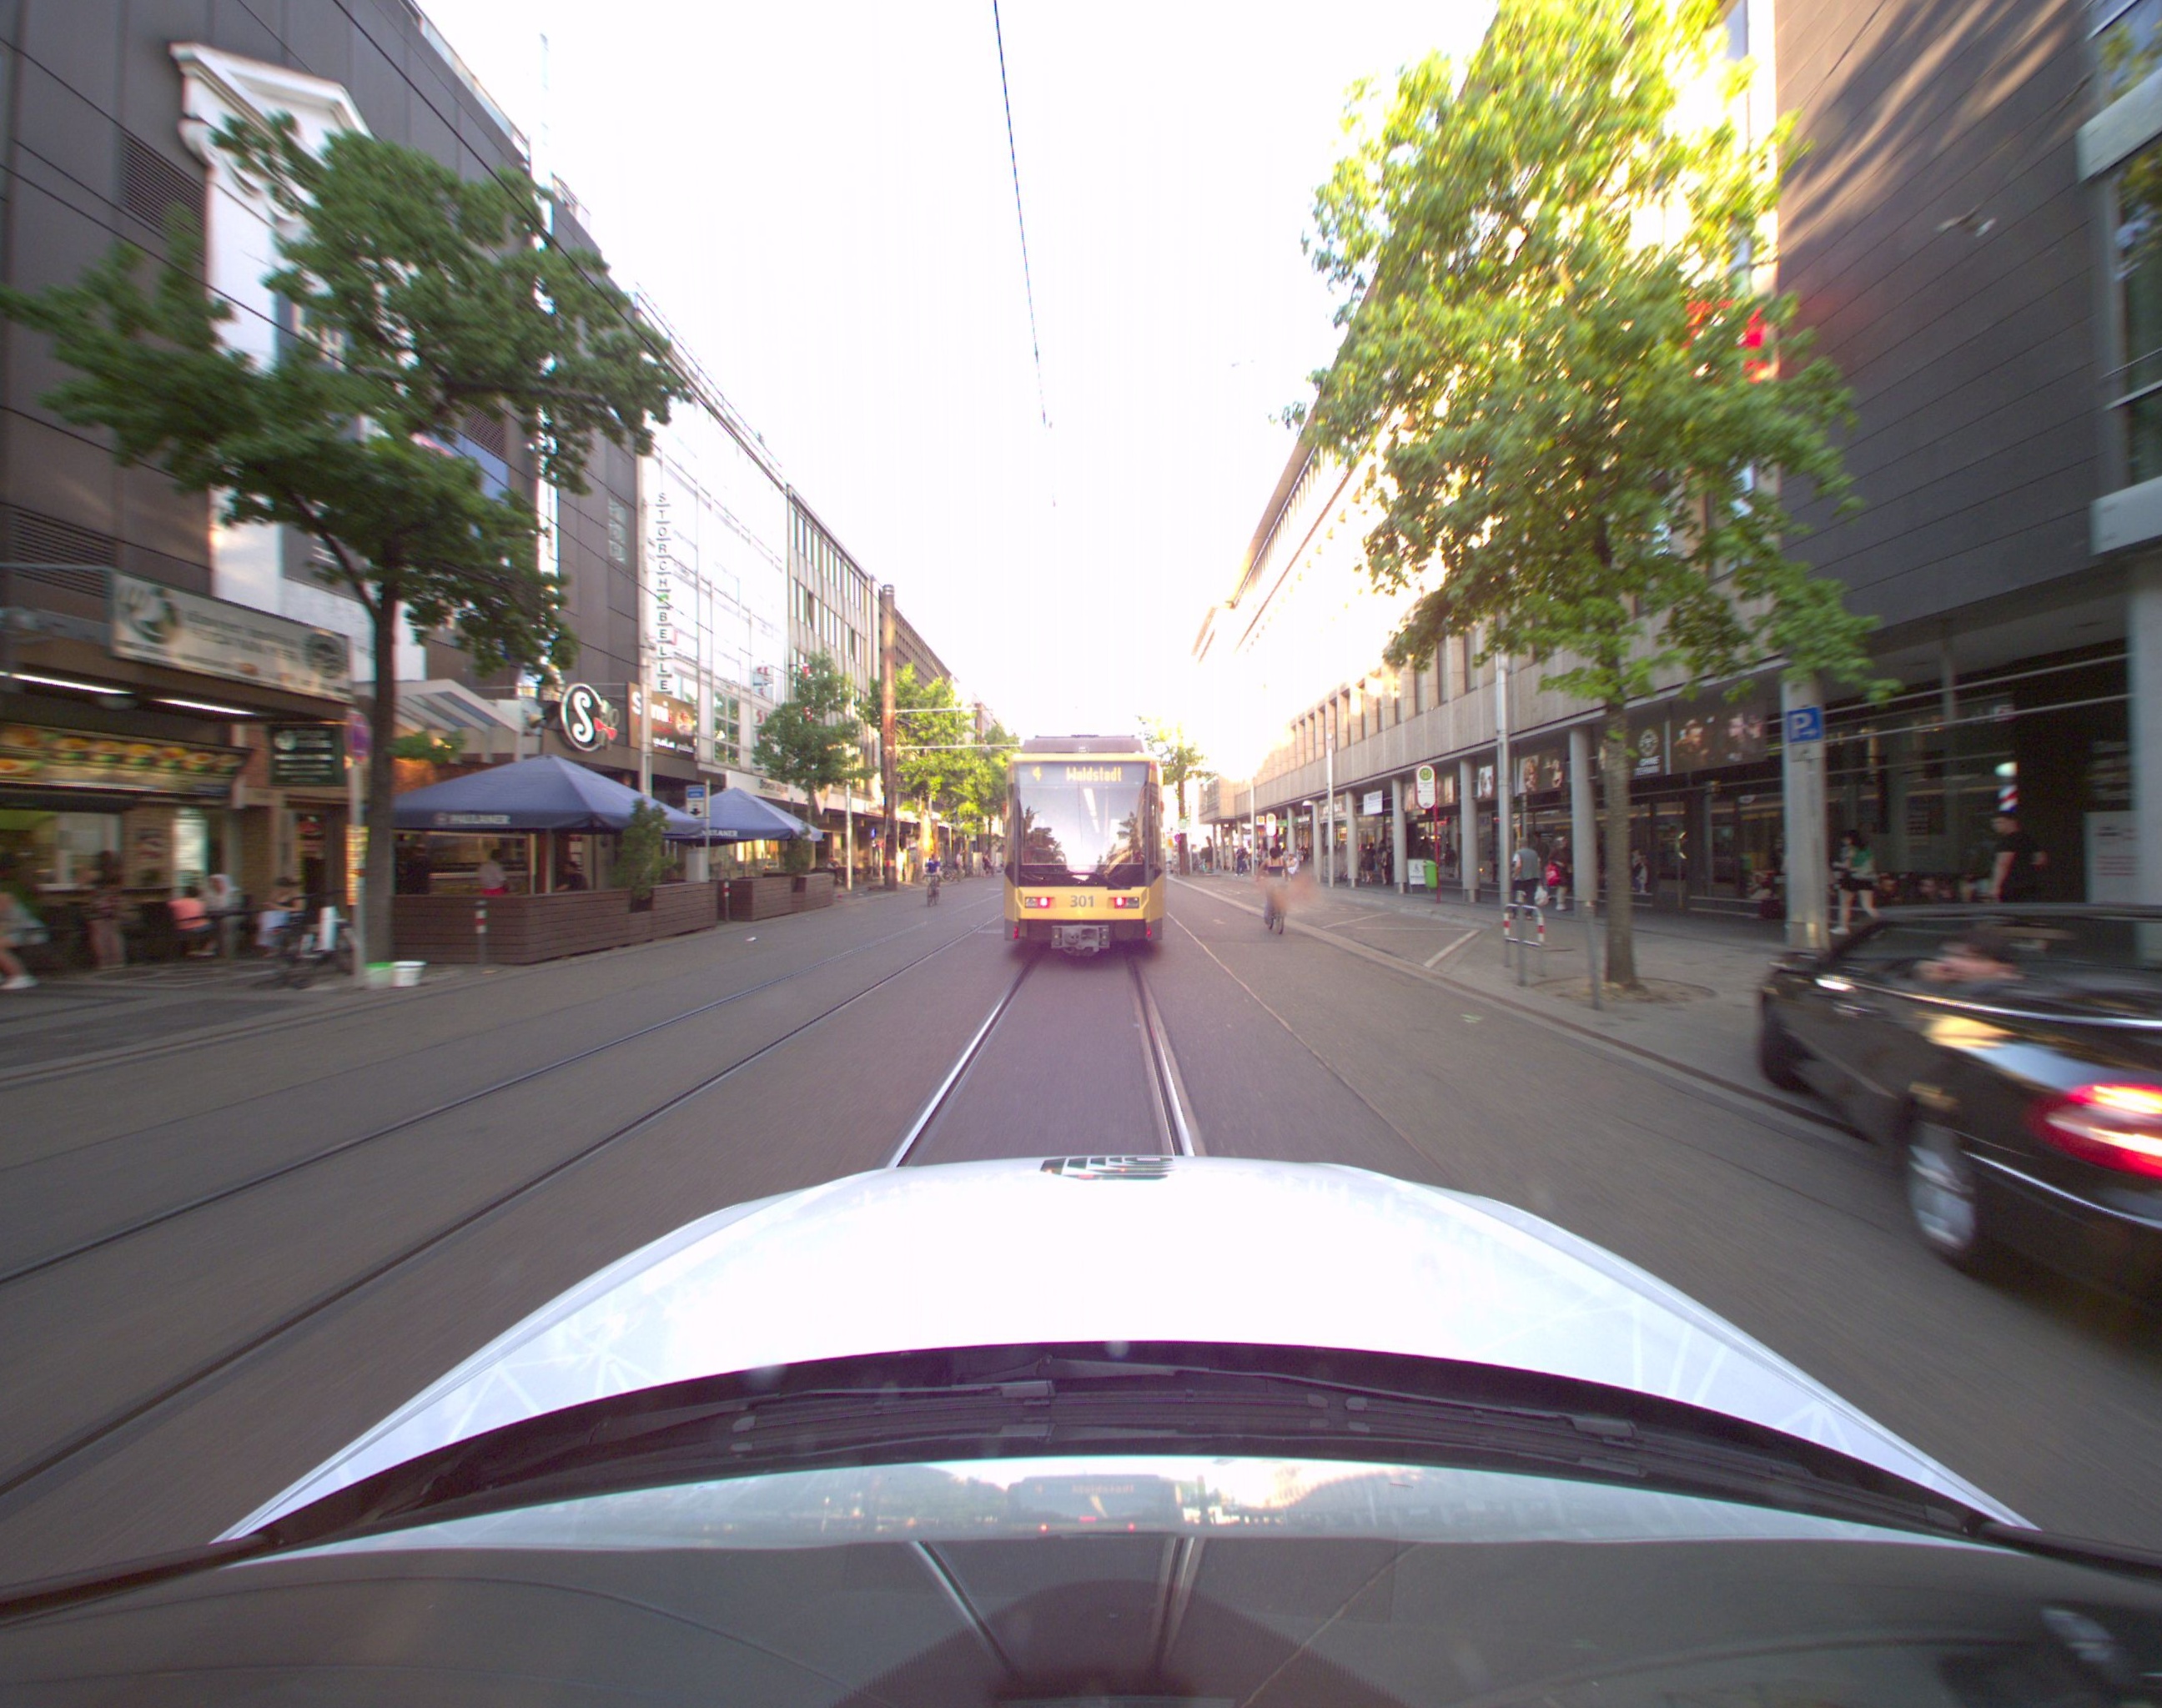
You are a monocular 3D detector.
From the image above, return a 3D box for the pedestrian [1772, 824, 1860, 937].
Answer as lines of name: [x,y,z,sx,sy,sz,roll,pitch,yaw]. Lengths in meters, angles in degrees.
pedestrian: [10.985,0.382,12.190,0.594,1.616,0.755,-3,1,1]

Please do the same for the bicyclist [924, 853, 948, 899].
bicyclist: [-4.517,0.681,25.385,0.618,1.416,0.699,0,-1,-2]

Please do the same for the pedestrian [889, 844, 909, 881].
pedestrian: [-9.908,0.449,44.363,0.846,2.014,0.922,0,-1,1]

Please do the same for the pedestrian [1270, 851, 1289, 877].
pedestrian: [10.635,0.523,43.685,0.803,1.328,0.626,-3,1,2]

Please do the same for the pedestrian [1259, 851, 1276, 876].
pedestrian: [10.435,0.528,45.496,0.737,1.328,0.721,-3,1,2]

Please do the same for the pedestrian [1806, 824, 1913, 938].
pedestrian: [11.676,0.378,12.243,0.594,1.616,1.022,-3,1,1]

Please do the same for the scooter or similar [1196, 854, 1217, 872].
scooter or similar: [9.068,0.668,58.740,1.378,1.250,0.555,-2,-1,-7]

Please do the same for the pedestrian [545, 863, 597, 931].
pedestrian: [-9.782,0.809,15.631,0.556,1.256,0.606,2,-1,2]

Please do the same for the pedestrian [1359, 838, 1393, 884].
pedestrian: [12.453,0.282,34.372,1.049,1.876,0.929,-3,1,1]

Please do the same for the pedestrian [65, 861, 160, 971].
pedestrian: [-12.646,0.784,10.646,0.440,1.373,0.607,2,-1,11]

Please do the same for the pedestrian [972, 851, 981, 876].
pedestrian: [-7.303,0.663,57.043,0.573,1.687,0.551,2,-1,-9]

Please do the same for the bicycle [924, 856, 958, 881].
bicycle: [-7.866,0.824,45.742,1.798,1.360,0.658,2,-1,-11]

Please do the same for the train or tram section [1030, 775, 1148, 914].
train or tram section: [0.269,-0.233,25.995,2.997,3.523,10.402,0,0,1]

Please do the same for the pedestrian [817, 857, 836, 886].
pedestrian: [-11.664,0.794,37.323,0.572,1.319,0.726,2,-1,2]

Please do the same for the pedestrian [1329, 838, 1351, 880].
pedestrian: [11.750,0.212,36.946,0.698,1.839,0.830,-3,1,1]

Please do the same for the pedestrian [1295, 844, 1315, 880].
pedestrian: [10.612,0.372,38.554,0.698,1.637,0.646,-3,1,1]

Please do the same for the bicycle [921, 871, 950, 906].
bicycle: [-4.524,1.057,25.404,0.639,1.023,1.588,1,0,-1]

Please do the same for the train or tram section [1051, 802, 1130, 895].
train or tram section: [0.424,-0.213,36.626,2.993,3.523,10.846,-1,0,1]

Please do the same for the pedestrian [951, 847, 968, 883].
pedestrian: [-6.386,0.590,42.861,0.749,1.880,0.575,2,-1,-3]

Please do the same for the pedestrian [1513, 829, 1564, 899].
pedestrian: [12.320,0.256,21.944,0.829,1.836,0.944,-2,1,1]

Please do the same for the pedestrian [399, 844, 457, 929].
pedestrian: [-12.571,0.614,15.698,0.601,1.597,0.561,1,-1,3]

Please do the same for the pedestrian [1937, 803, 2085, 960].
pedestrian: [11.209,0.317,9.845,0.874,1.782,0.755,-3,1,1]

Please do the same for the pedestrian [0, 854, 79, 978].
pedestrian: [-12.763,0.725,9.843,0.607,1.434,0.512,2,-1,4]

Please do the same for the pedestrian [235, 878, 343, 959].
pedestrian: [-11.845,0.944,12.197,0.816,1.120,0.780,2,-1,11]

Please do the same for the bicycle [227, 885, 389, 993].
bicycle: [-9.697,1.000,10.334,0.815,1.103,2.148,-1,1,-25]

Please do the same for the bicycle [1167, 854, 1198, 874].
bicycle: [7.867,0.775,63.299,2.323,1.472,0.790,0,-1,-3]

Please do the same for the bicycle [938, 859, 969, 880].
bicycle: [-7.427,0.900,47.489,1.730,1.126,0.612,2,-1,-6]

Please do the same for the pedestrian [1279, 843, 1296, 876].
pedestrian: [12.002,0.327,47.358,0.698,1.839,0.830,-3,1,1]

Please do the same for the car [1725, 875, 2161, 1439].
car: [4.581,0.860,3.824,1.784,1.348,4.474,-1,0,30]

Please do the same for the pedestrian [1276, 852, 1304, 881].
pedestrian: [10.221,0.613,39.920,1.108,1.328,0.927,-3,0,2]

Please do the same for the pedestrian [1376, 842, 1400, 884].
pedestrian: [12.335,0.356,32.744,0.594,1.616,0.830,-3,1,2]

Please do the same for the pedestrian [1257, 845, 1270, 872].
pedestrian: [12.041,0.293,53.761,0.698,1.684,0.681,-3,1,1]

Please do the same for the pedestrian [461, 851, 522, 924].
pedestrian: [-10.419,0.581,14.411,0.601,1.256,0.561,2,-1,3]

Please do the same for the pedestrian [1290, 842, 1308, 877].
pedestrian: [11.745,0.289,43.873,0.698,1.839,0.830,-3,1,1]

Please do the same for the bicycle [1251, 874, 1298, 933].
bicycle: [3.895,0.975,16.525,0.652,1.060,2.060,1,0,6]

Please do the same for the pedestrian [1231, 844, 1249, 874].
pedestrian: [9.450,0.294,48.472,0.885,1.782,0.751,0,-1,-1]

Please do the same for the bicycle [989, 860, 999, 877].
bicycle: [-5.970,1.000,55.942,0.610,1.126,2.248,2,-1,-4]

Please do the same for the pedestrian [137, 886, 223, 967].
pedestrian: [-12.114,0.953,10.959,0.448,1.029,0.666,2,-1,31]

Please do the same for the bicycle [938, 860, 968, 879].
bicycle: [-7.860,0.931,49.928,1.729,1.126,0.563,2,-1,-3]

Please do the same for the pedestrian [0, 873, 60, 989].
pedestrian: [-12.166,0.851,9.173,0.520,1.256,0.587,2,-1,1]

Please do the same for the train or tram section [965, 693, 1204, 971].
train or tram section: [0.117,-0.258,15.613,3.006,3.523,10.371,-1,0,1]

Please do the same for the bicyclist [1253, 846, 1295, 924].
bicyclist: [3.887,0.622,16.457,0.723,1.527,0.734,1,-1,5]

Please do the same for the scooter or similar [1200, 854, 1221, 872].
scooter or similar: [9.209,0.639,57.847,1.381,1.210,0.513,-1,-1,-13]

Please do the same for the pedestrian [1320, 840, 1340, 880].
pedestrian: [11.776,0.262,38.541,0.698,1.839,0.706,-3,1,1]

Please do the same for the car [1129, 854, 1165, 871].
car: [6.202,0.777,76.323,1.626,1.594,3.944,-1,-1,34]

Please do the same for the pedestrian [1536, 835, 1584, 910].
pedestrian: [10.705,0.399,18.212,0.594,1.616,0.756,-3,1,1]

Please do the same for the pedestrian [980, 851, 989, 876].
pedestrian: [-6.694,0.646,56.445,0.550,1.687,0.575,2,-1,-3]

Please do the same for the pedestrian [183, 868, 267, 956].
pedestrian: [-12.714,0.847,12.114,0.556,1.258,0.607,1,-1,5]

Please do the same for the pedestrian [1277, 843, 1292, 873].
pedestrian: [12.962,0.262,51.797,0.698,1.839,0.830,-3,1,1]

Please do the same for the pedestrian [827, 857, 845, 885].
pedestrian: [-11.597,0.802,38.542,0.572,1.319,0.726,2,-1,2]

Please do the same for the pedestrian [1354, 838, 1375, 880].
pedestrian: [12.734,0.229,36.636,0.594,1.839,0.830,-3,1,2]

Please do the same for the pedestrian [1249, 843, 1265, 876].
pedestrian: [9.773,0.301,45.261,0.746,1.782,0.892,0,-1,4]

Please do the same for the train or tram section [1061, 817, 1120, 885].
train or tram section: [0.570,-0.148,47.291,3.034,3.523,10.531,0,0,1]

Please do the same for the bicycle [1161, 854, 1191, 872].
bicycle: [7.840,0.763,67.392,2.323,1.472,0.790,0,-1,-3]

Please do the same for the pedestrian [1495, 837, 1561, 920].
pedestrian: [8.744,0.456,15.965,0.874,1.581,0.755,0,1,0]

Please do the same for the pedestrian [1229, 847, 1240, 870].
pedestrian: [11.695,0.323,62.125,0.698,1.684,0.681,-3,1,1]
